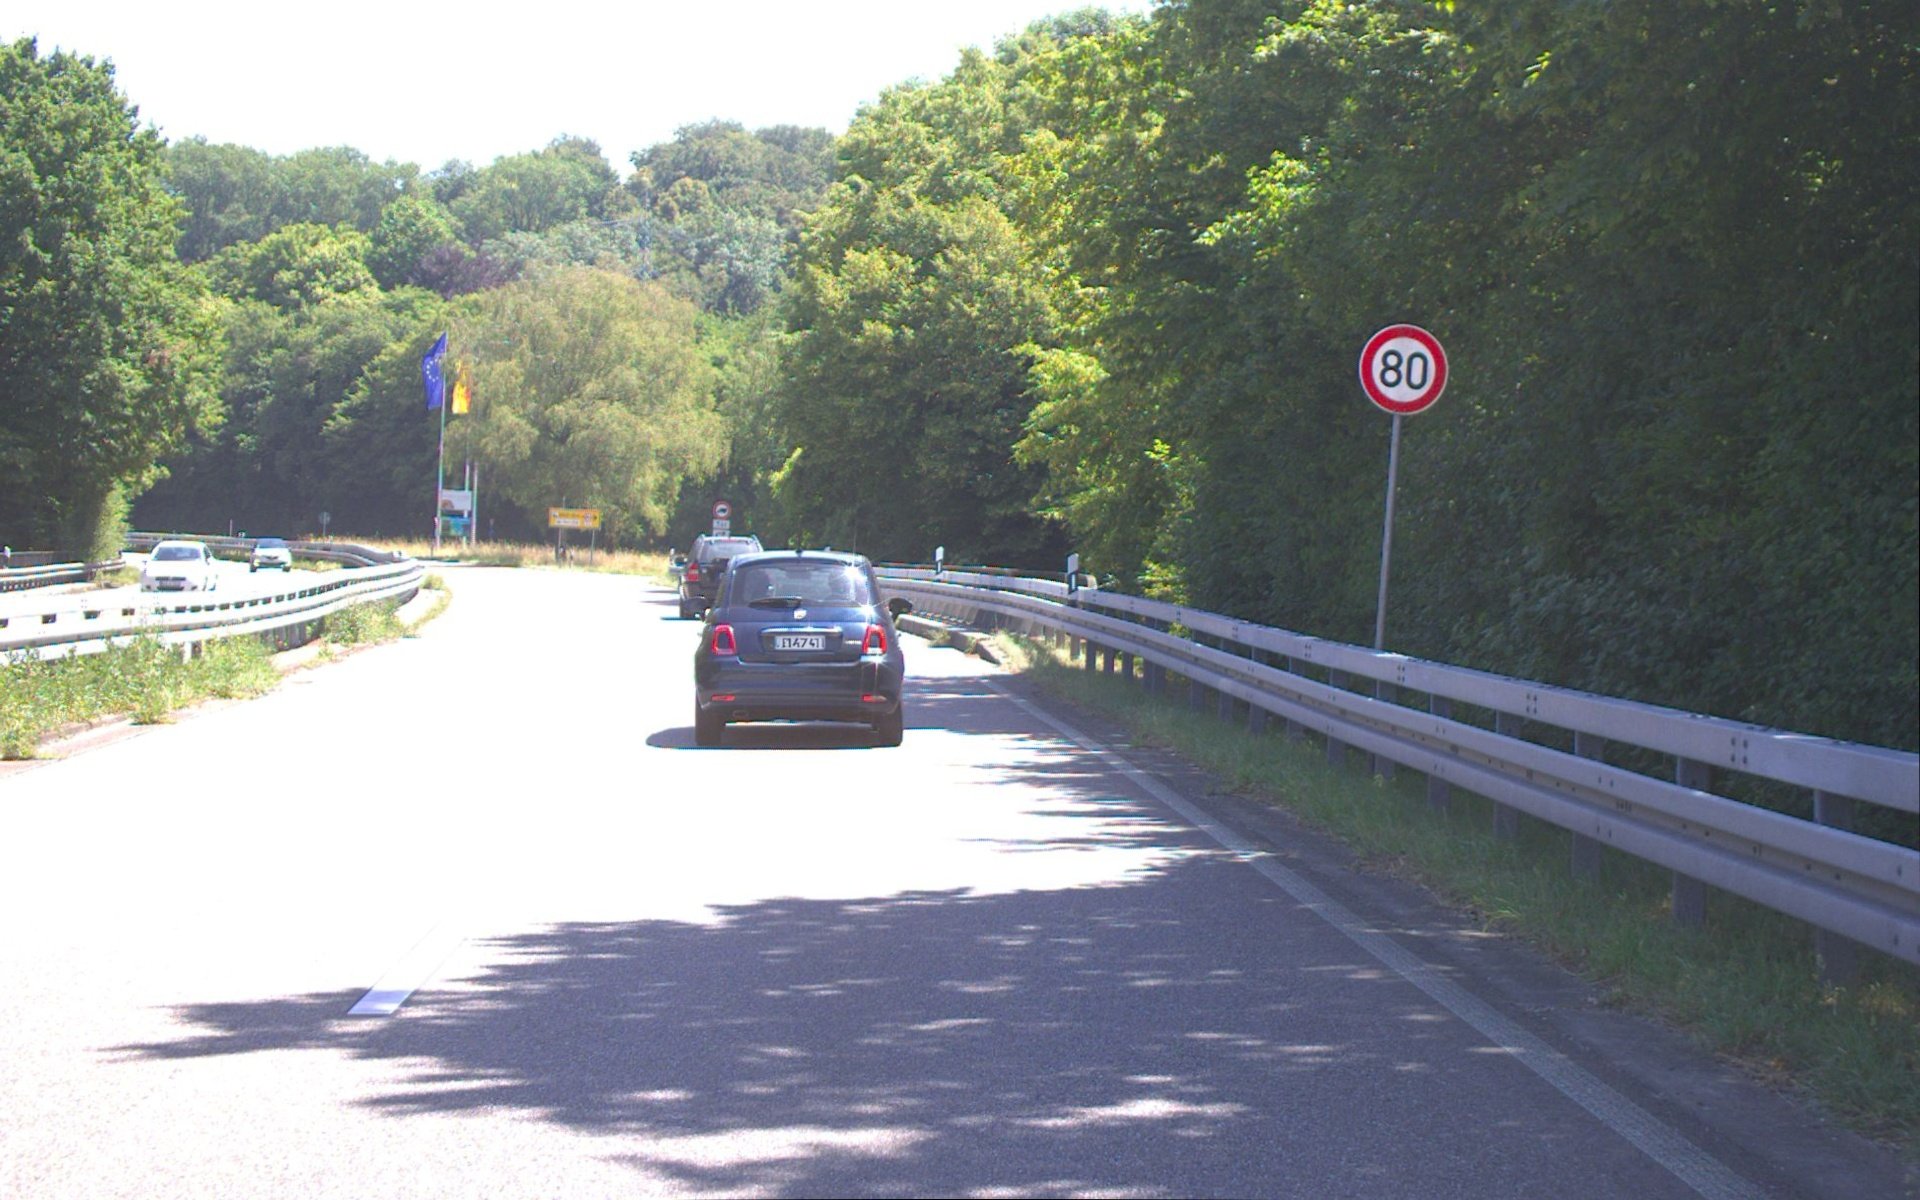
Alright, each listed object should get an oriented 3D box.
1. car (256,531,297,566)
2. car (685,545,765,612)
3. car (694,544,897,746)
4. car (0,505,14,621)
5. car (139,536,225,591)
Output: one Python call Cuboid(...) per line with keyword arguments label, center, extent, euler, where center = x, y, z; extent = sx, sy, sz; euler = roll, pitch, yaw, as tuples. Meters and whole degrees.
Cuboid(label="car", center=(-32.207, -2.433, 162.084), extent=(1.651, 1.601, 4.221), euler=(0, 1, -8))
Cuboid(label="car", center=(-4.757, -0.450, 69.297), extent=(1.525, 1.309, 3.415), euler=(0, 1, -5))
Cuboid(label="car", center=(-1.270, 0.308, 27.461), extent=(1.513, 1.495, 3.590), euler=(0, 1, -1))
Cuboid(label="car", center=(-16.907, -0.585, 55.556), extent=(1.989, 1.944, 5.641), euler=(0, 1, -3))
Cuboid(label="car", center=(-20.722, -0.994, 91.682), extent=(1.651, 1.442, 4.220), euler=(0, 1, -5))
